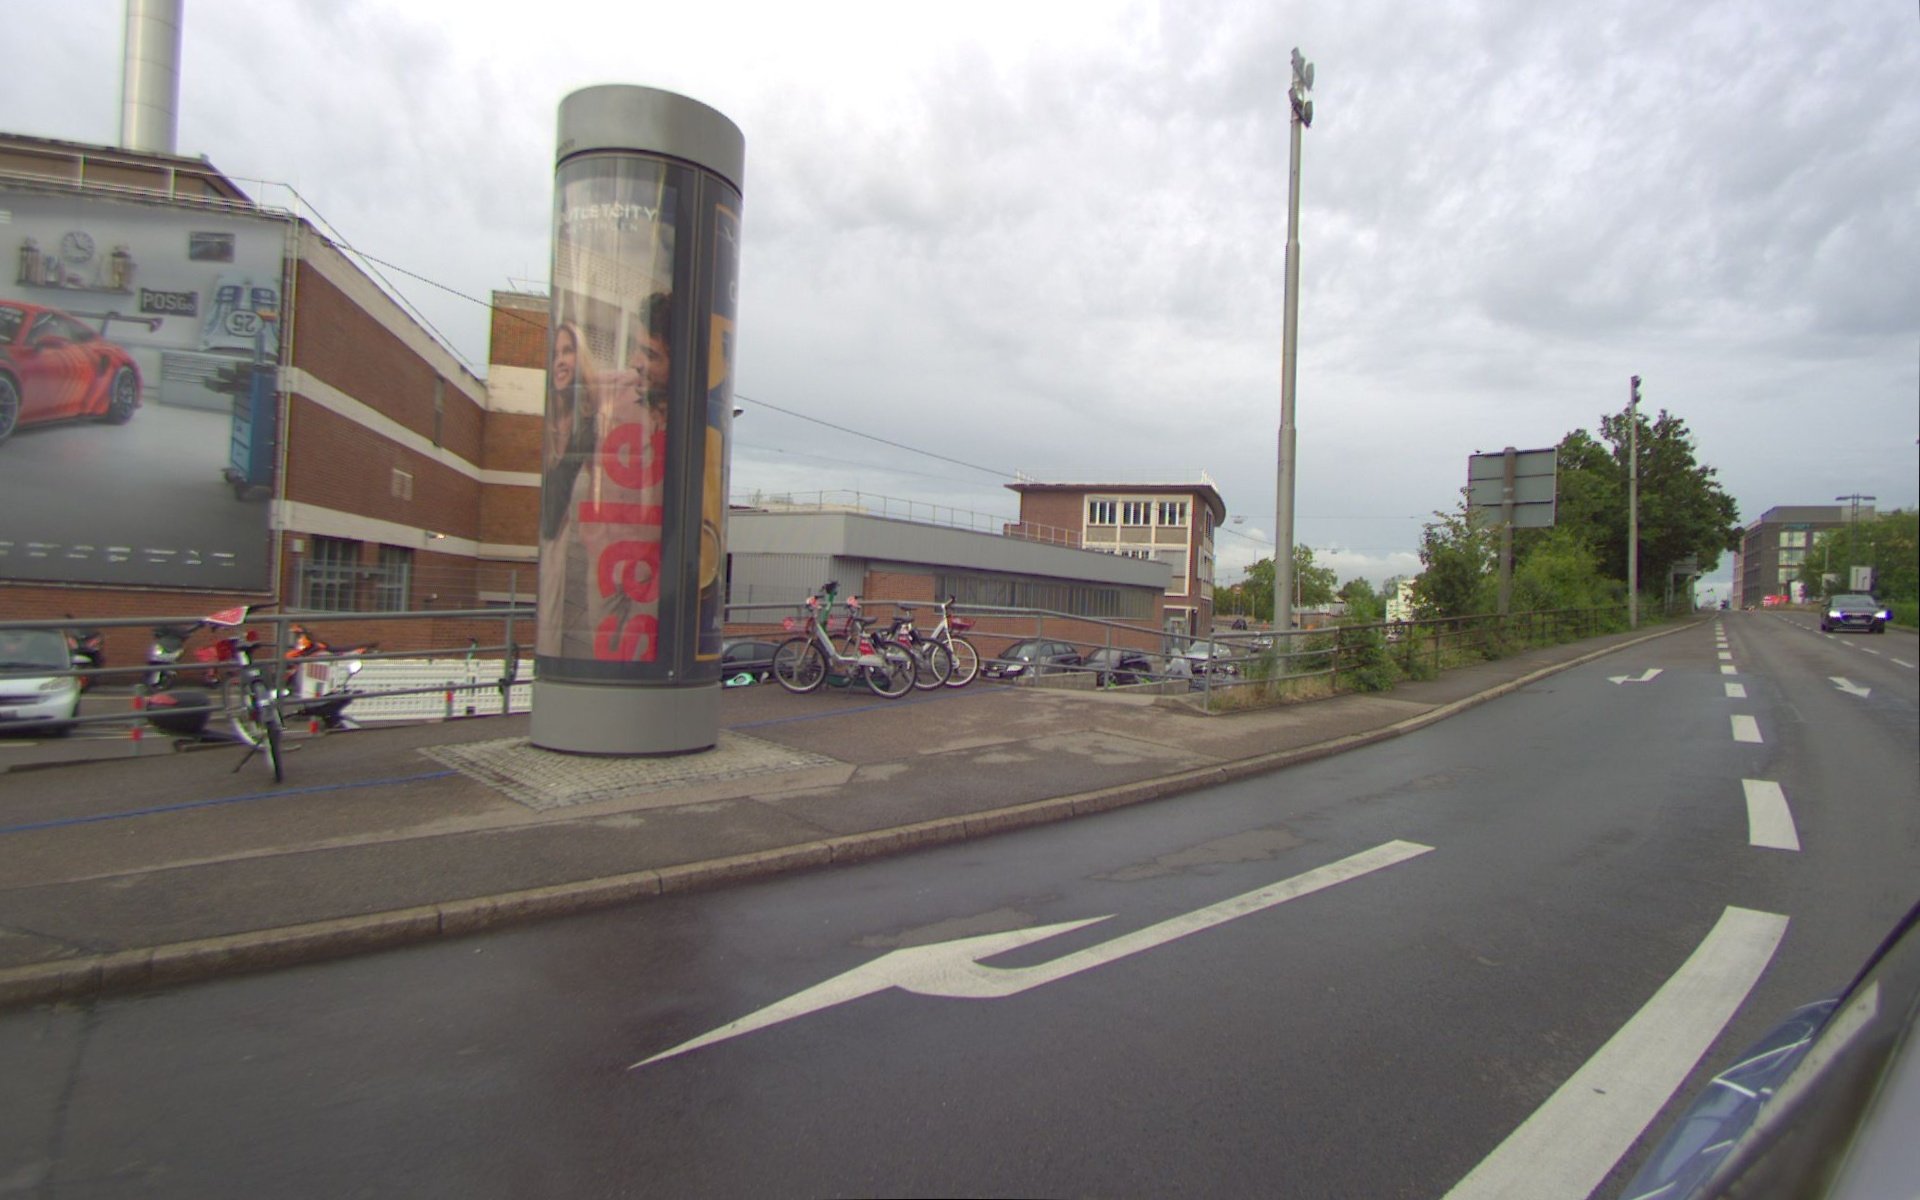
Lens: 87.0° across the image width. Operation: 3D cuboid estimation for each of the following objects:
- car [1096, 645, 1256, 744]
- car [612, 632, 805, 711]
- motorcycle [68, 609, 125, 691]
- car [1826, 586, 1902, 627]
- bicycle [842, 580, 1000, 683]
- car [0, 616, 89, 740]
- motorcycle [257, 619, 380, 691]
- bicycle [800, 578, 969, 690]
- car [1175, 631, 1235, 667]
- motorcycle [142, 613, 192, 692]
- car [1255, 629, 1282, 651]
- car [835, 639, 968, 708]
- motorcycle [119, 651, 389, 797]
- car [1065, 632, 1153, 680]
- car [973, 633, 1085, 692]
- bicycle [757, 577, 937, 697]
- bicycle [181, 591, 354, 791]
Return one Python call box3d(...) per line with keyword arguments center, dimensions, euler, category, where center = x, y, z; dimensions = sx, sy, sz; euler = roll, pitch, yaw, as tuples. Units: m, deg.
box3d(center=(4.399, 1.795, 20.272), dimensions=(1.694, 1.574, 3.805), euler=(1, 1, 37), category="car")
box3d(center=(-5.727, 1.624, 23.533), dimensions=(1.694, 1.630, 4.204), euler=(0, -3, 37), category="car")
box3d(center=(-16.287, 0.915, 19.111), dimensions=(0.675, 1.325, 2.022), euler=(3, 2, -38), category="motorcycle")
box3d(center=(37.547, 0.238, 42.131), dimensions=(1.831, 1.603, 4.235), euler=(2, 1, 35), category="car")
box3d(center=(-0.503, 0.363, 12.822), dimensions=(1.911, 1.192, 0.595), euler=(2, 1, 23), category="bicycle")
box3d(center=(-14.025, 1.068, 14.911), dimensions=(1.663, 1.500, 3.558), euler=(4, -1, -40), category="car")
box3d(center=(-13.105, 1.121, 20.739), dimensions=(1.943, 1.325, 0.932), euler=(3, 1, -23), category="motorcycle")
box3d(center=(-0.885, 0.379, 11.997), dimensions=(1.900, 1.239, 0.598), euler=(2, 1, 9), category="bicycle")
box3d(center=(12.329, 2.435, 50.841), dimensions=(1.692, 1.574, 3.808), euler=(1, 1, 35), category="car")
box3d(center=(-15.334, 0.993, 19.592), dimensions=(0.562, 1.325, 1.873), euler=(3, 2, -34), category="motorcycle")
box3d(center=(23.180, 2.968, 75.913), dimensions=(1.648, 1.413, 3.971), euler=(1, 0, 22), category="car")
box3d(center=(-1.595, 2.026, 28.832), dimensions=(1.694, 1.648, 3.877), euler=(1, 1, 37), category="car")
box3d(center=(-5.862, 0.977, 8.496), dimensions=(0.696, 1.002, 1.726), euler=(2, 0, 38), category="motorcycle")
box3d(center=(5.720, 2.097, 38.569), dimensions=(1.694, 1.574, 3.805), euler=(1, 1, 37), category="car")
box3d(center=(2.393, 2.038, 33.937), dimensions=(1.629, 1.652, 4.370), euler=(1, 1, 37), category="car")
box3d(center=(-1.261, 0.393, 11.368), dimensions=(1.901, 1.239, 0.598), euler=(2, 1, 10), category="bicycle")
box3d(center=(-4.891, 0.557, 7.098), dimensions=(1.799, 1.176, 0.583), euler=(3, 2, 41), category="bicycle")
